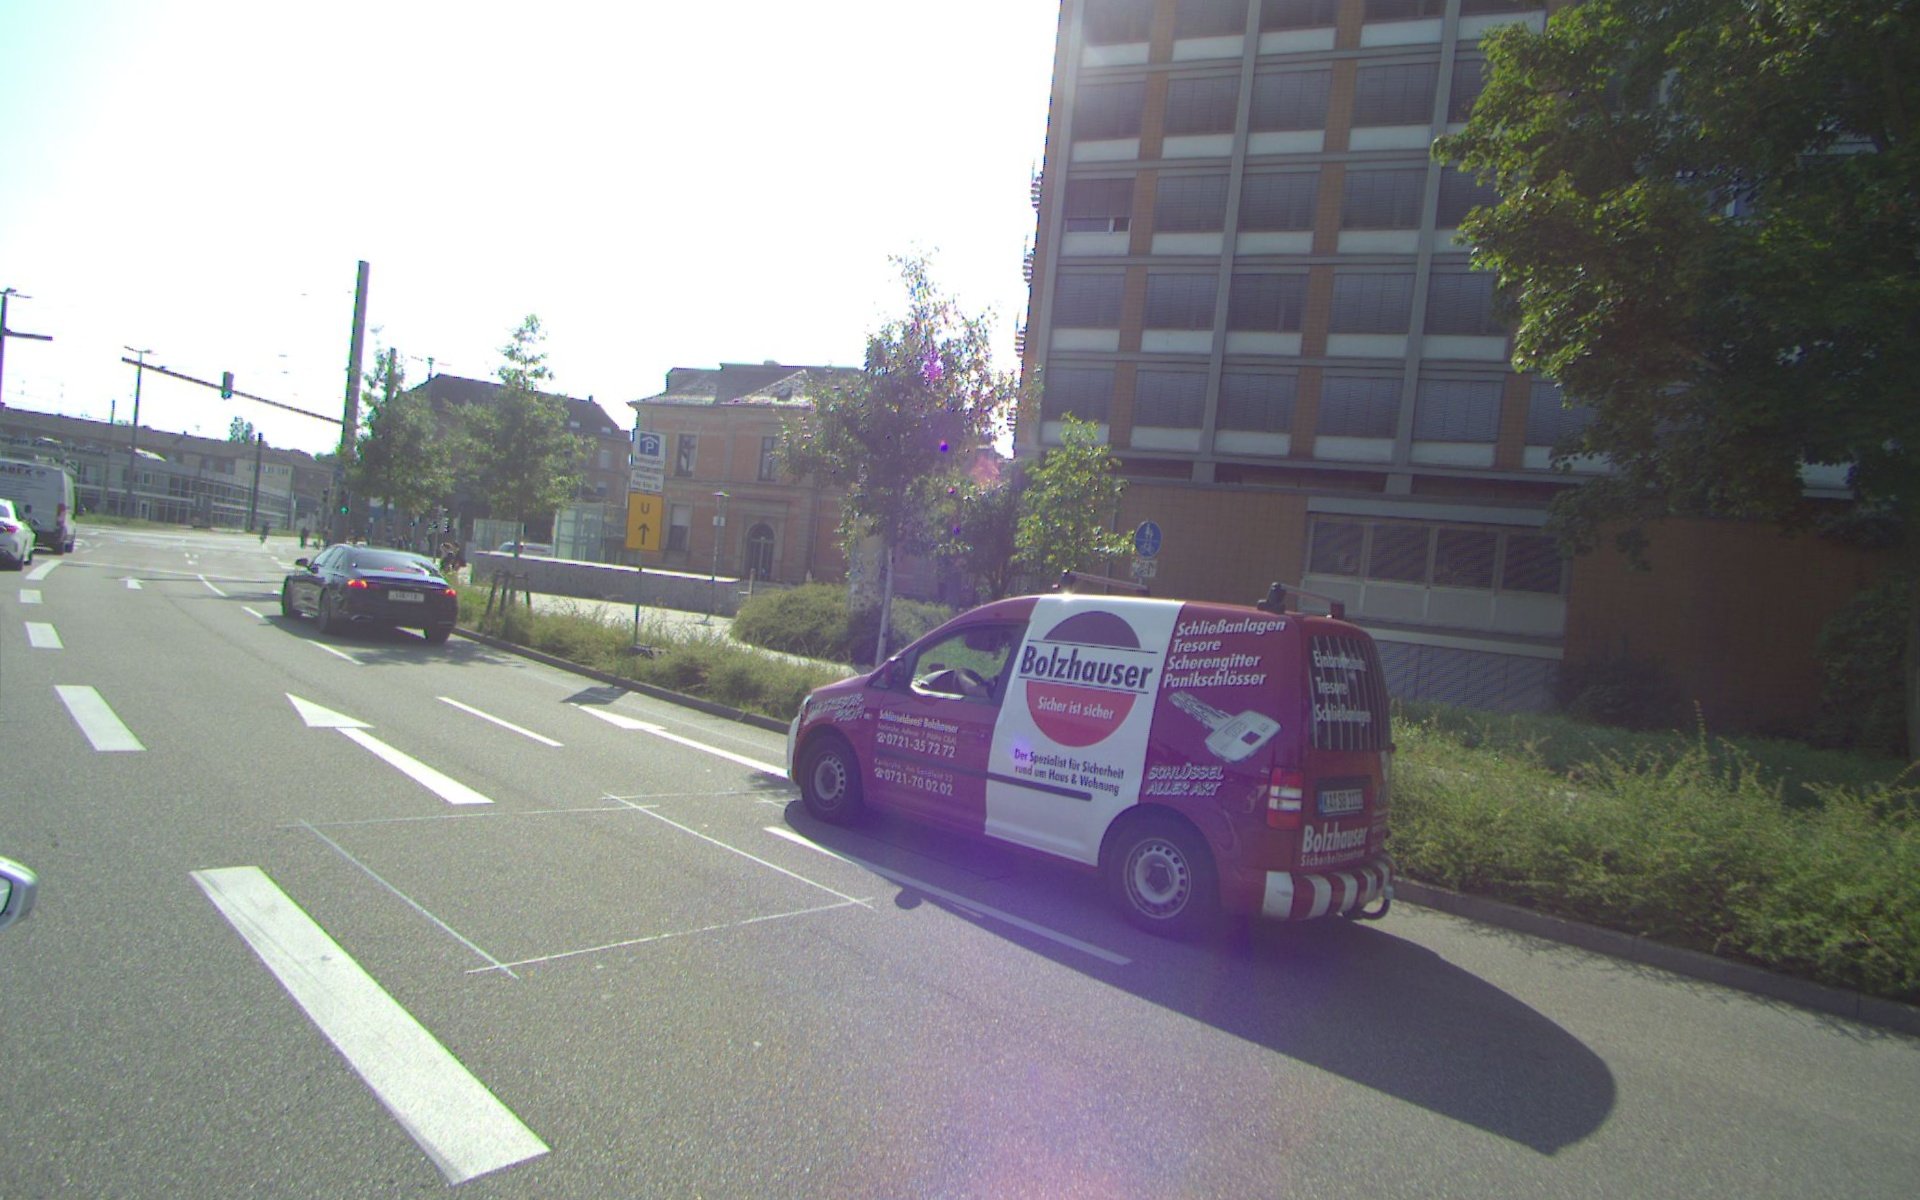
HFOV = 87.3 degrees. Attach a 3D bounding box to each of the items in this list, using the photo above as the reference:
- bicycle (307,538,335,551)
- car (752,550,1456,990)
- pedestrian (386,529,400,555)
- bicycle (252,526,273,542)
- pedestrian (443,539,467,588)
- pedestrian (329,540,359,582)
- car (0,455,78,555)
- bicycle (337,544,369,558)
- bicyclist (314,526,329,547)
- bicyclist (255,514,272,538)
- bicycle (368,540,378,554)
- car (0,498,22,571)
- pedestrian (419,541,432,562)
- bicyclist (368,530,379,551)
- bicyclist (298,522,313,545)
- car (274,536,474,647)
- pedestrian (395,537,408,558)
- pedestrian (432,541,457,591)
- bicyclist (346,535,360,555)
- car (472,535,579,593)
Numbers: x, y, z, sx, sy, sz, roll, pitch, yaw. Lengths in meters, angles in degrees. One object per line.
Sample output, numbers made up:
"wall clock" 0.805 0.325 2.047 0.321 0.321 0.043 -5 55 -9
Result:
"bicycle" -51.465 -4.472 81.069 1.782 0.896 0.756 6 0 -28
"car" 0.687 0.792 6.667 4.219 1.841 1.729 6 -1 42
"pedestrian" -44.492 -4.544 78.958 0.798 1.913 0.743 5 1 -31
"bicycle" -50.024 -4.715 72.182 0.764 0.988 2.137 6 0 -25
"pedestrian" -17.833 -1.298 35.548 0.608 1.649 0.531 5 1 -24
"pedestrian" -21.593 -1.379 35.273 0.625 1.379 0.634 7 1 42
"car" -27.981 -2.825 30.108 2.180 2.580 4.629 6 -1 -42
"bicycle" -48.800 -3.948 80.893 2.034 0.905 0.741 6 0 -28
"bicyclist" -51.430 -5.108 81.042 0.797 1.517 0.743 6 1 -28
"bicyclist" -49.971 -5.307 72.179 0.764 1.598 0.984 6 0 -25
"bicycle" -54.467 -4.919 93.363 0.734 1.233 2.227 5 1 -31
"car" -20.669 -1.476 20.974 1.484 1.420 3.894 7 -1 -44
"pedestrian" -36.721 -3.333 69.113 0.652 1.378 0.654 7 2 -27
"bicyclist" -54.411 -5.563 93.374 0.740 1.853 0.800 5 1 -31
"bicyclist" -46.163 -4.679 70.949 0.707 1.549 0.800 5 1 -31
"car" -10.355 -0.206 17.585 1.815 1.457 4.813 7 -1 -44
"pedestrian" -39.219 -3.672 70.665 0.652 1.378 0.654 7 2 -27
"pedestrian" -17.748 -1.171 34.638 0.608 1.660 0.530 5 1 -24
"bicyclist" -48.779 -4.438 80.868 0.797 1.479 0.743 6 1 -28
"car" -19.180 -1.556 44.583 1.722 2.039 3.995 9 1 26
